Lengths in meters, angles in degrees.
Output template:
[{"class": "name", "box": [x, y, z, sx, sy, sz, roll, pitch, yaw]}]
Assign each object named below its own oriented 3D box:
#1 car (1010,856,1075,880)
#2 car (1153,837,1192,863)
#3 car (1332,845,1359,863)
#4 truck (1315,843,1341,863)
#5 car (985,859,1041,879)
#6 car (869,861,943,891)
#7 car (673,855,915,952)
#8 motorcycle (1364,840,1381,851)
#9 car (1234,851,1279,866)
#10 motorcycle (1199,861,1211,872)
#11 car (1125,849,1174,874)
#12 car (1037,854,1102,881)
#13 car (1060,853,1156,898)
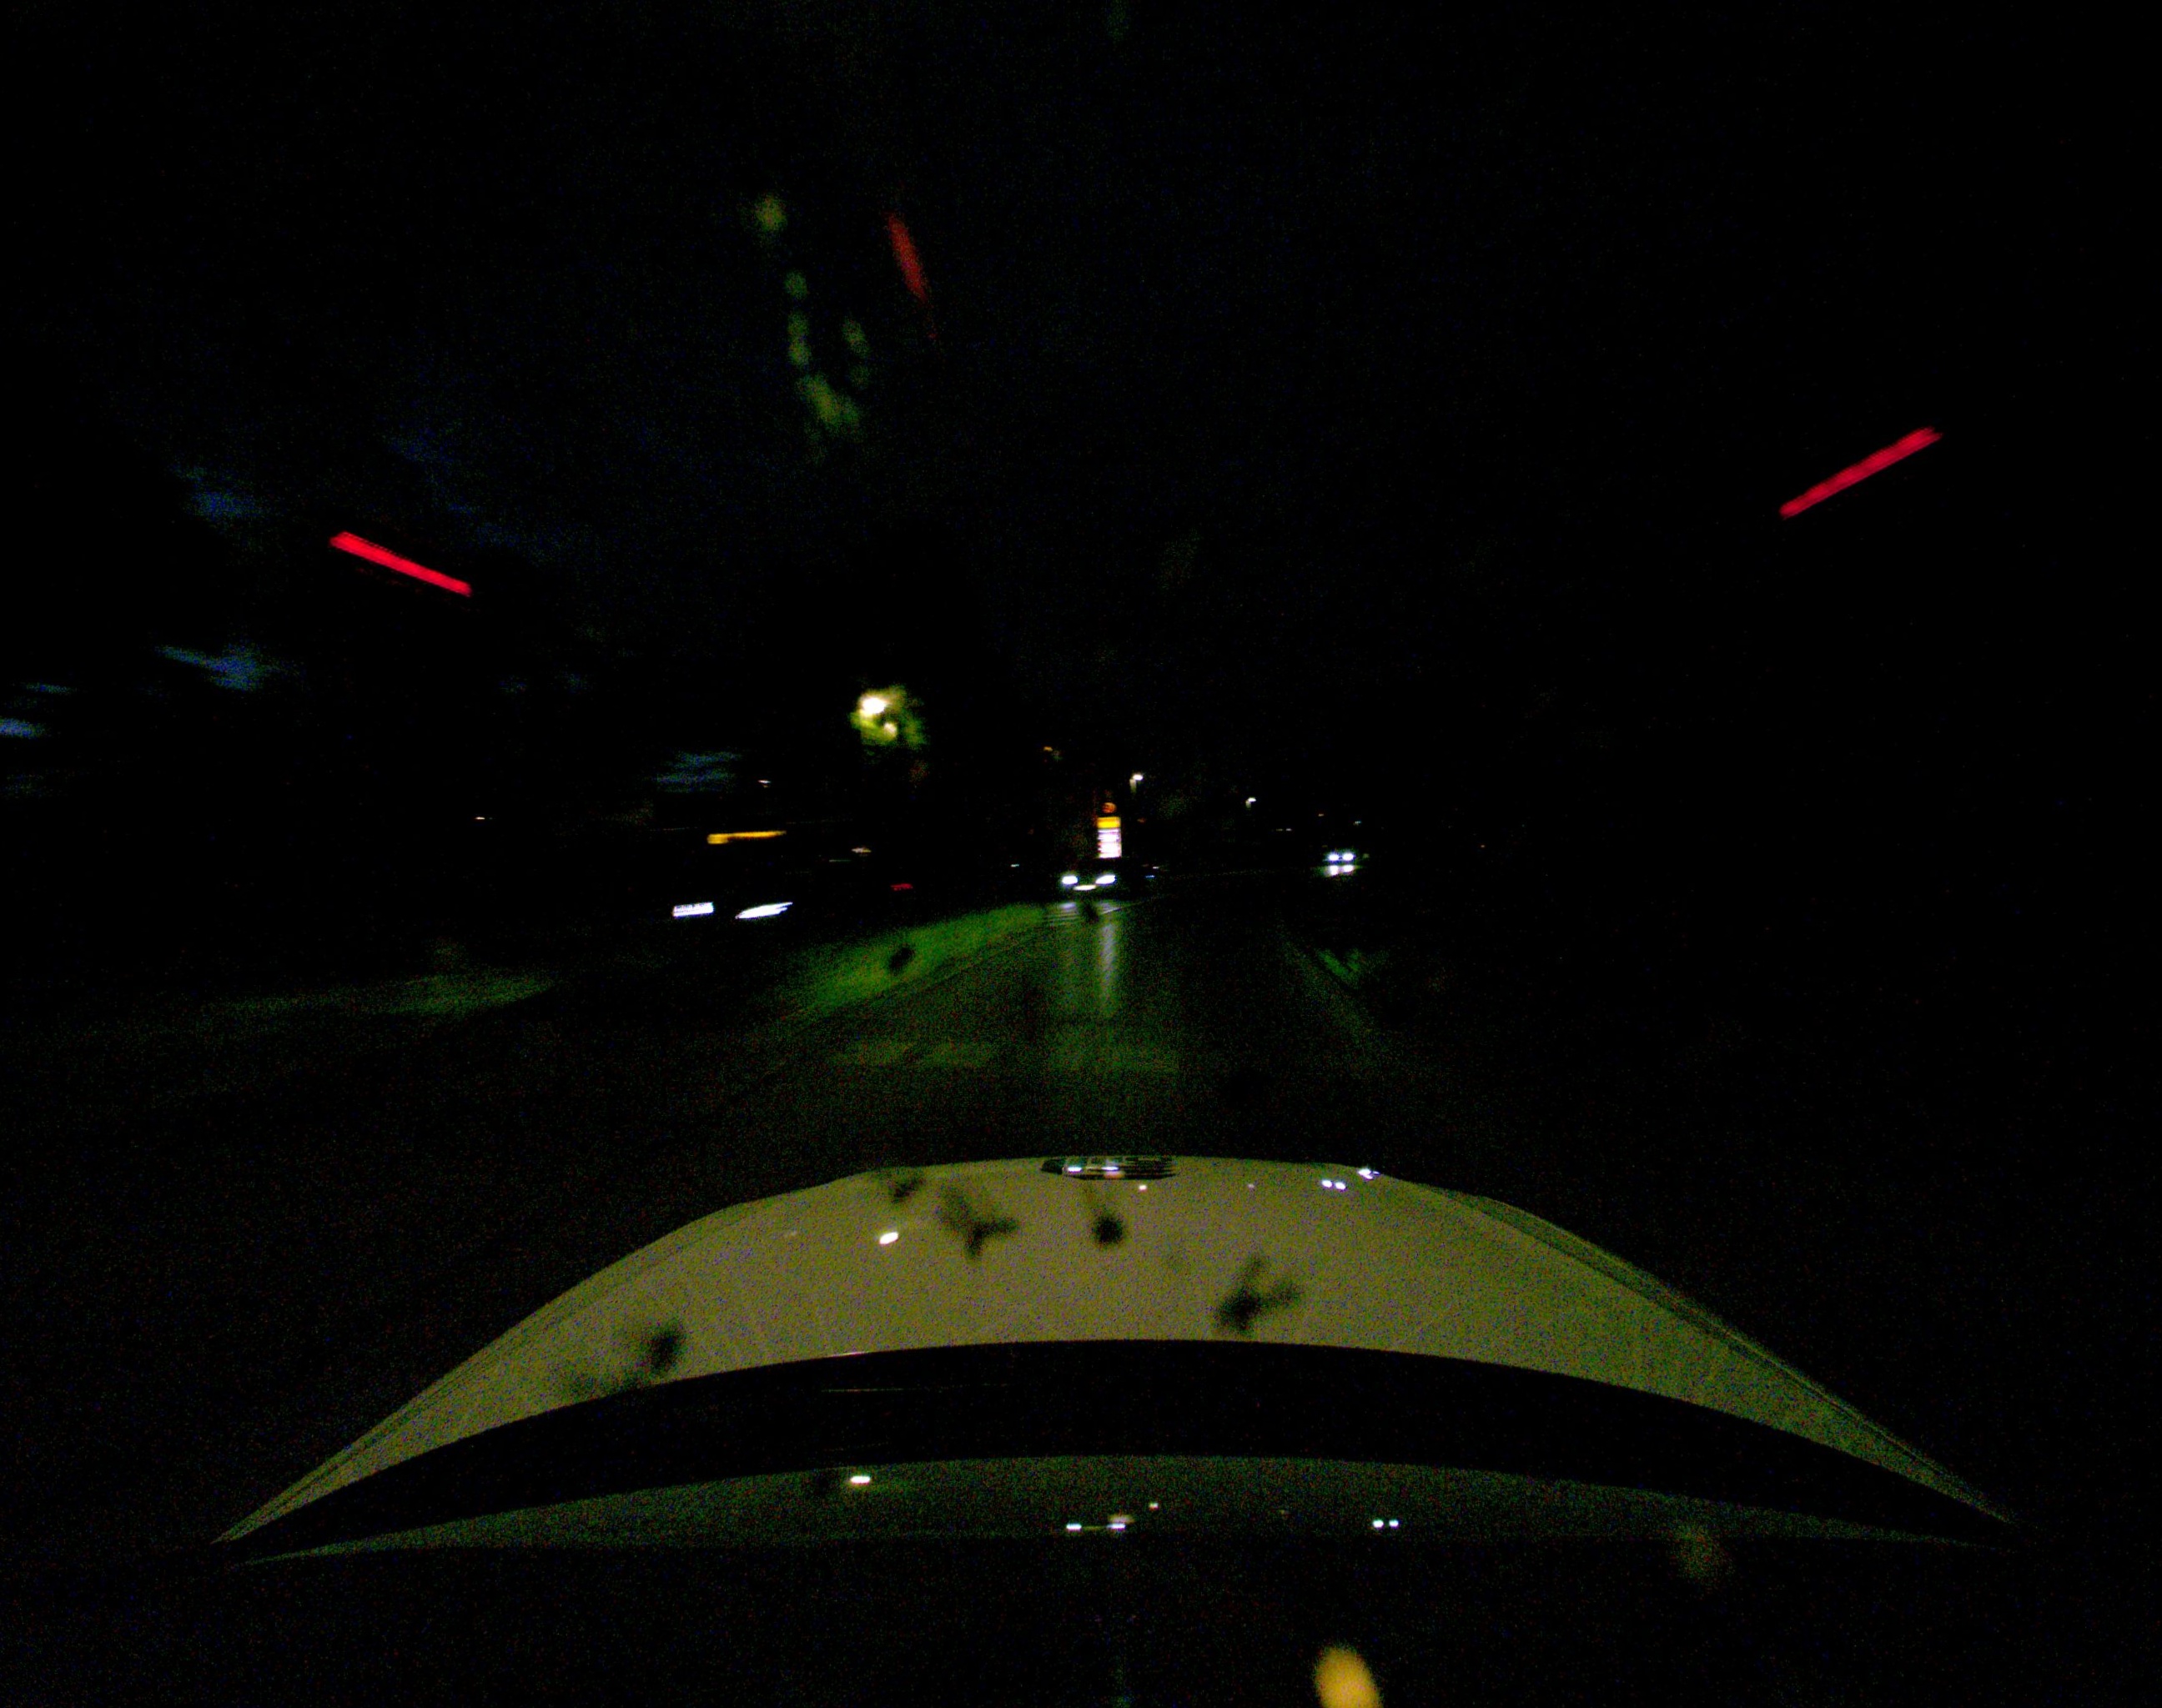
[{"class": "car", "box": [-2.235, 0.791, 47.648, 1.530, 1.311, 3.721, -1, 0, 44]}, {"class": "car", "box": [7.801, -0.388, 69.217, 1.975, 2.013, 4.025, 1, 2, 27]}, {"class": "car", "box": [26.602, -0.033, 81.884, 1.738, 1.607, 4.480, -3, -1, 29]}, {"class": "truck", "box": [28.477, -0.143, 93.694, 2.229, 2.129, 6.012, -3, -1, 22]}, {"class": "car", "box": [-4.095, 0.895, 49.300, 1.530, 1.131, 3.233, -1, 0, 43]}, {"class": "car", "box": [-9.156, 1.153, 42.616, 3.474, 1.359, 1.504, -3, -2, 18]}, {"class": "car", "box": [-4.850, 0.763, 14.584, 1.746, 1.445, 4.546, -1, -1, 16]}, {"class": "motorcycle", "box": [60.057, -1.748, 167.652, 4.018, 2.013, 1.308, -2, 2, -37]}, {"class": "car", "box": [18.258, 0.479, 84.858, 4.309, 1.359, 1.652, -2, -1, 23]}, {"class": "motorcycle", "box": [13.238, 1.355, 87.042, 0.978, 1.144, 1.857, -1, 0, 16]}, {"class": "car", "box": [4.672, 0.468, 54.716, 1.739, 1.607, 4.478, -1, 0, 26]}, {"class": "car", "box": [-0.627, 0.757, 46.270, 1.530, 1.420, 3.722, -1, 0, 43]}, {"class": "car", "box": [1.076, 0.729, 29.460, 1.743, 1.403, 4.613, -3, -1, 25]}]
